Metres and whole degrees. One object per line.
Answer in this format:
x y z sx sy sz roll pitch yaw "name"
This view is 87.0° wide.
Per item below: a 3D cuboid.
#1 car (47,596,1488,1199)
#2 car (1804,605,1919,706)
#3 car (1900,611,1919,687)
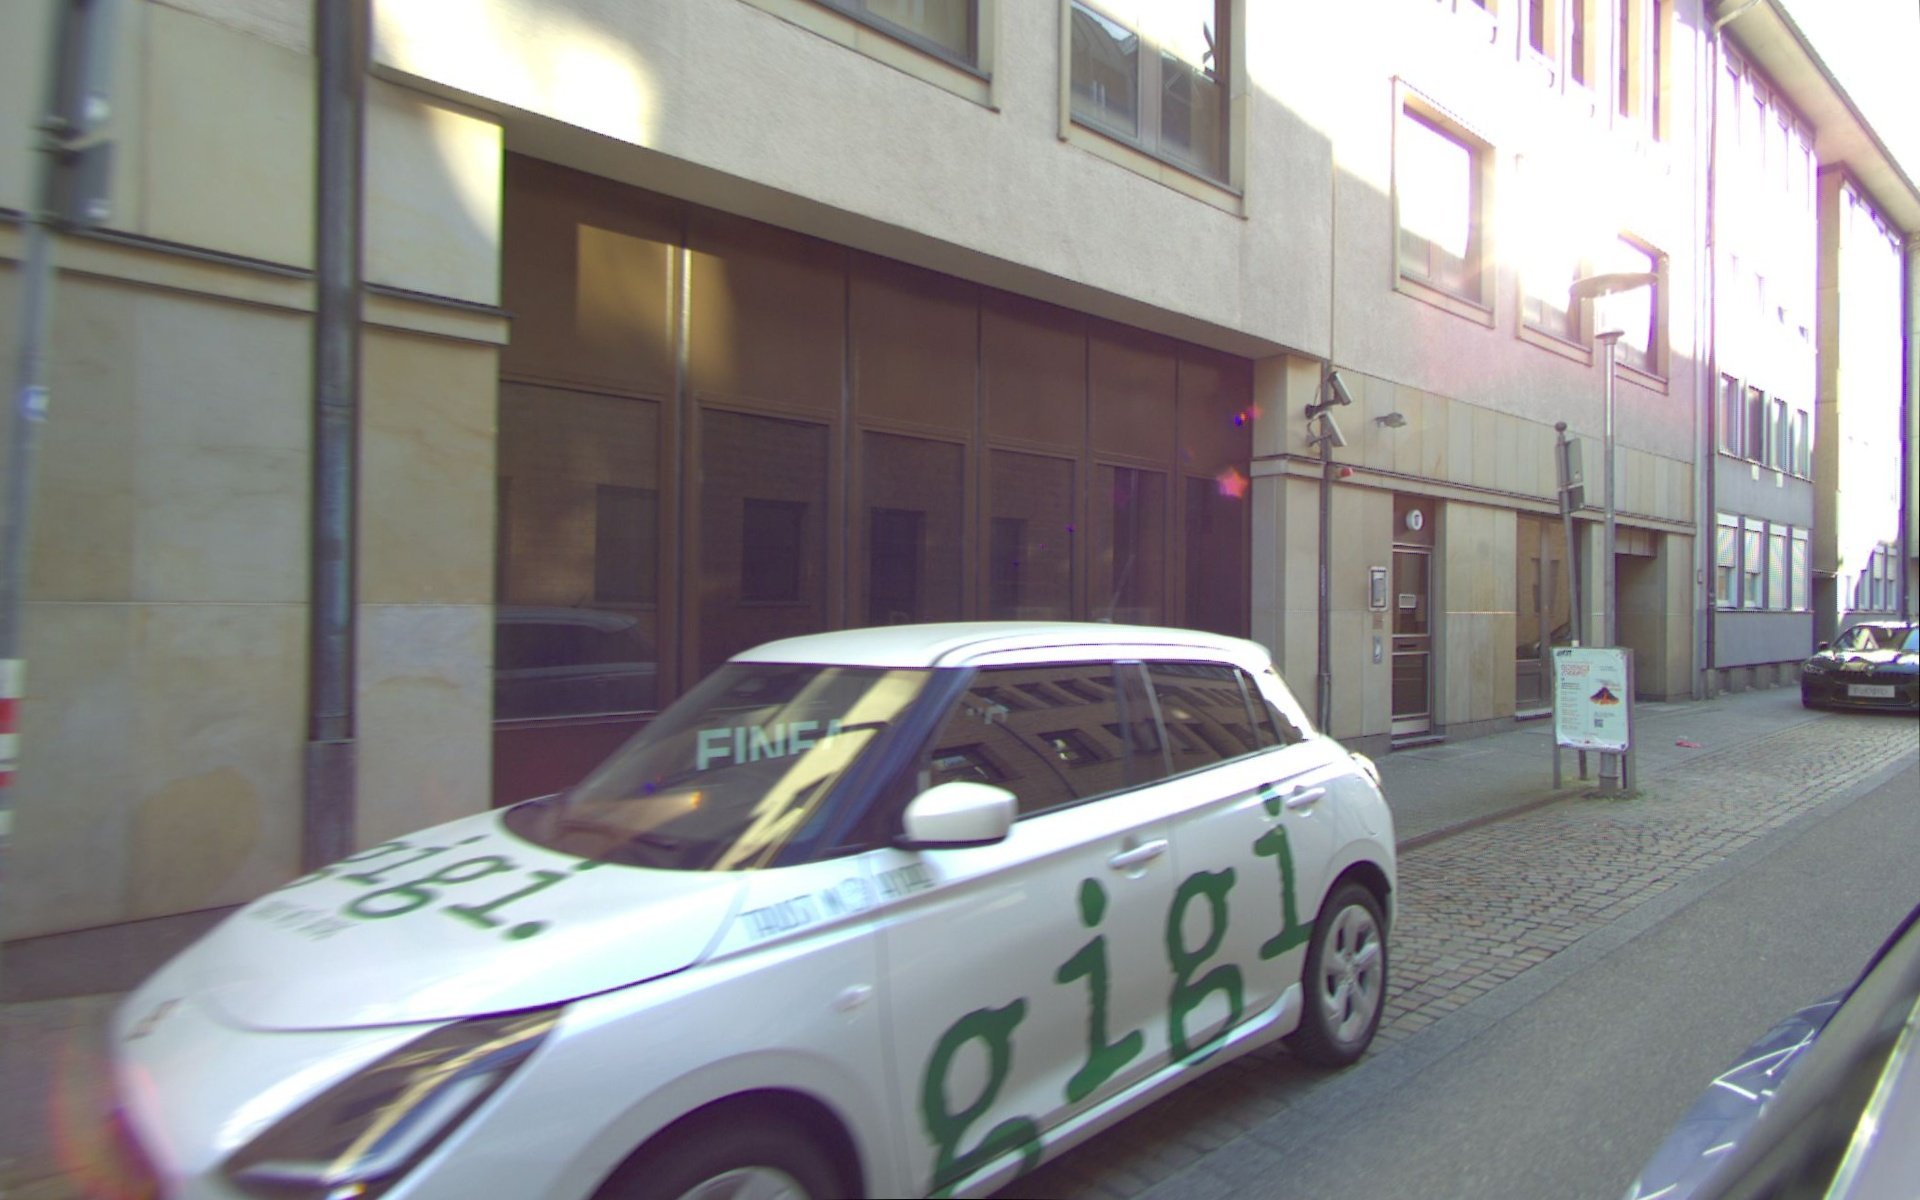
-0.117 0.790 3.196 4.096 1.497 1.842 1 -3 -42 "car"
15.741 0.831 16.563 5.129 1.472 1.898 0 -2 -38 "car"
20.452 0.917 20.151 4.703 1.431 1.811 0 -2 -39 "car"
